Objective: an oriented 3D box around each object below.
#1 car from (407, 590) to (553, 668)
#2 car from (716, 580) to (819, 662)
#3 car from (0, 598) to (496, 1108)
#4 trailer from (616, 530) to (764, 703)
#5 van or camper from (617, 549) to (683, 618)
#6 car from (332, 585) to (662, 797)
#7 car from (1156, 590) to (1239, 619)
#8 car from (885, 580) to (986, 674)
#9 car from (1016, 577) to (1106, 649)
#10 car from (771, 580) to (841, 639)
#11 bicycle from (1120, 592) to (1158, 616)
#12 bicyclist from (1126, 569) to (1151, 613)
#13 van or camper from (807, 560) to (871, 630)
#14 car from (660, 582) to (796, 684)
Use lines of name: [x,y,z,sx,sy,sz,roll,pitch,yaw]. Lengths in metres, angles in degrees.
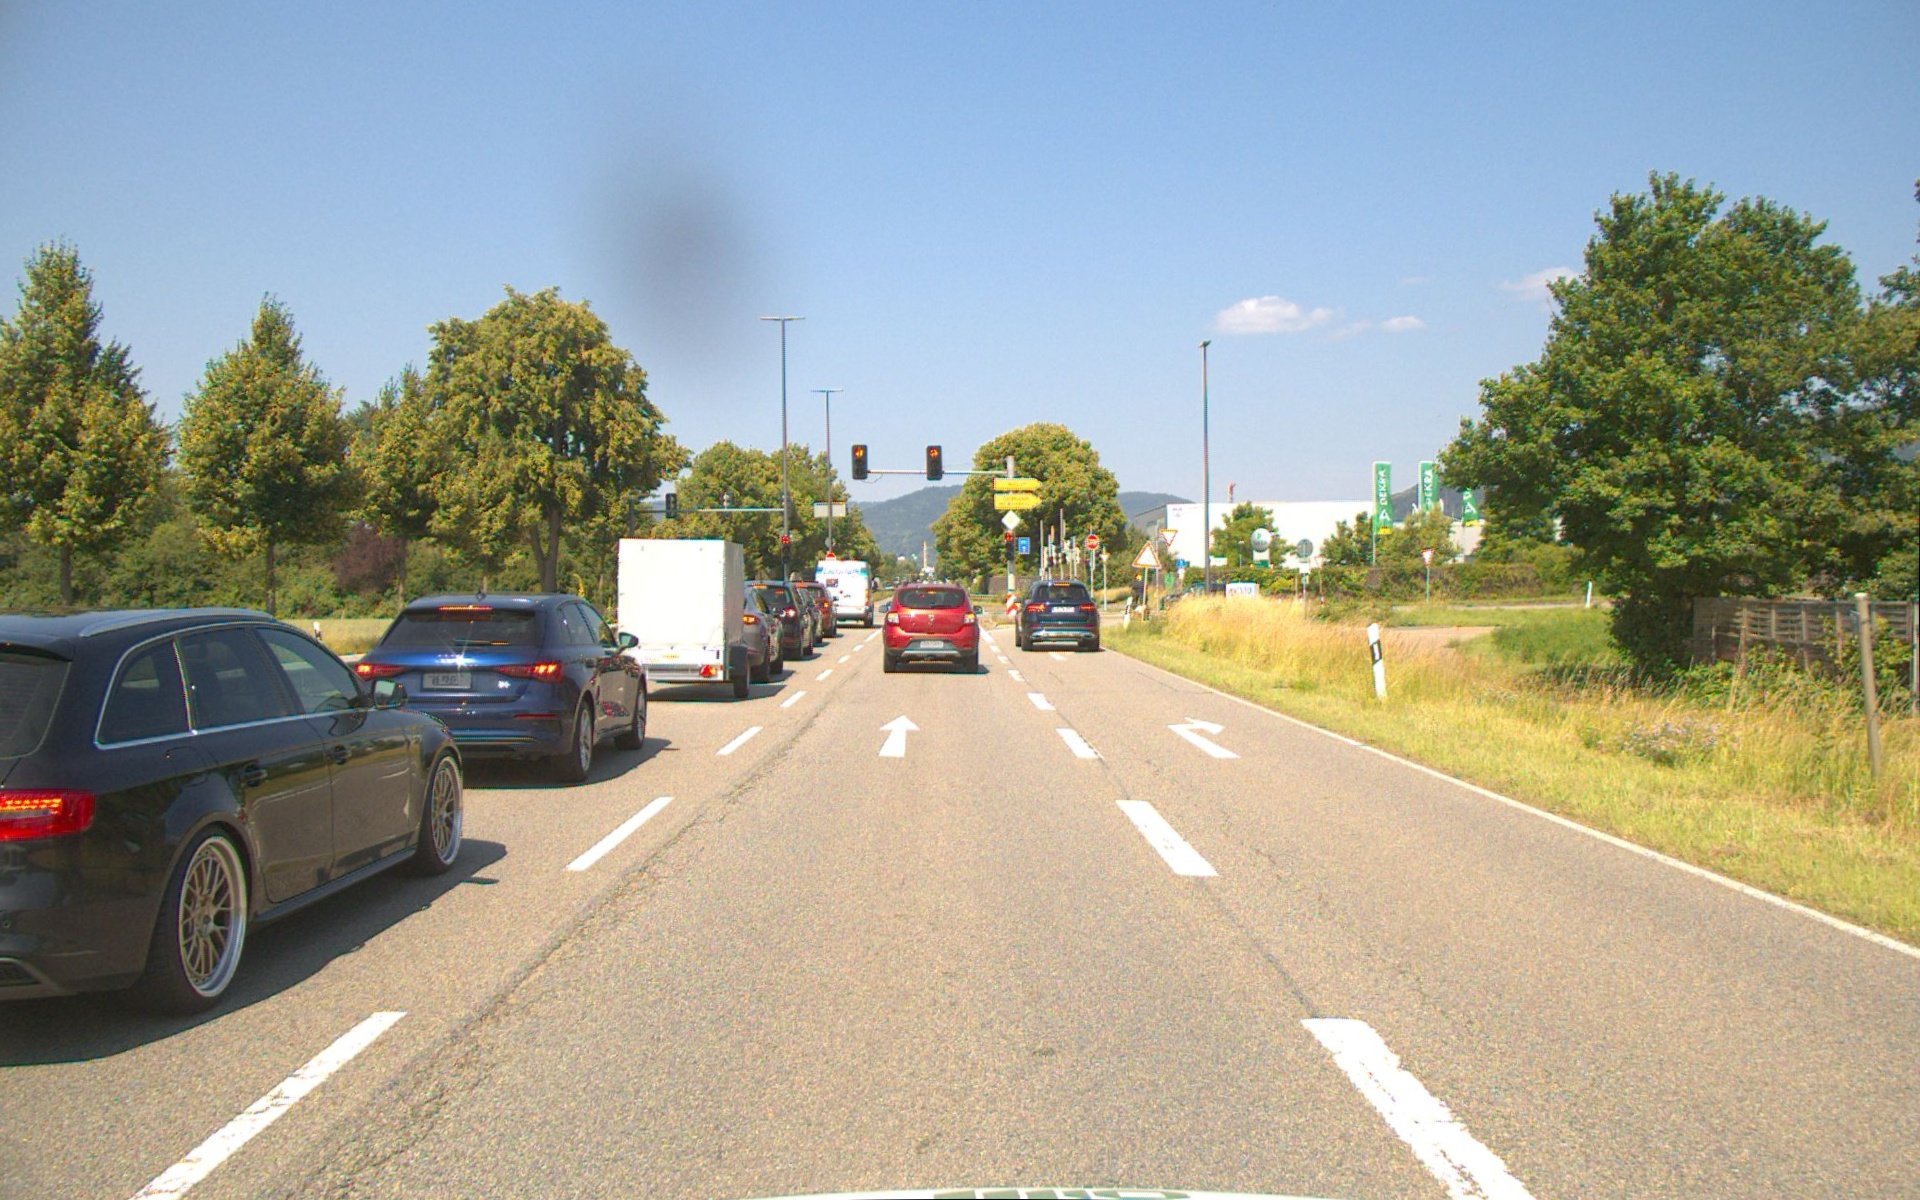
car: [-9.982,0.560,34.762,1.841,1.480,4.503,-1,1,-2]
car: [-3.926,0.390,34.280,1.688,1.603,3.892,0,0,0]
car: [-3.404,0.721,6.935,1.705,1.404,4.454,0,1,-1]
trailer: [-3.689,0.189,23.153,1.470,2.211,4.173,0,0,-1]
van or camper: [-14.883,-0.796,79.720,2.217,3.153,5.693,-1,1,-2]
car: [-3.659,0.633,13.796,1.682,1.490,4.029,0,1,-1]
car: [11.447,0.211,79.990,3.902,1.350,1.807,-1,0,6]
car: [-0.398,0.445,30.178,1.713,1.603,3.677,-1,0,1]
car: [2.398,0.269,40.159,1.952,1.645,4.340,0,1,1]
car: [-4.425,0.250,48.106,1.689,1.628,3.955,0,0,0]
bicycle: [7.423,0.162,68.807,0.748,0.931,2.771,-1,1,-12]
bicyclist: [7.423,-0.373,68.670,0.788,1.802,0.806,-1,1,-13]
van or camper: [-4.255,-0.192,58.742,2.136,2.343,4.823,0,0,-3]
car: [-3.730,0.484,27.242,1.710,1.529,4.362,0,0,-1]
